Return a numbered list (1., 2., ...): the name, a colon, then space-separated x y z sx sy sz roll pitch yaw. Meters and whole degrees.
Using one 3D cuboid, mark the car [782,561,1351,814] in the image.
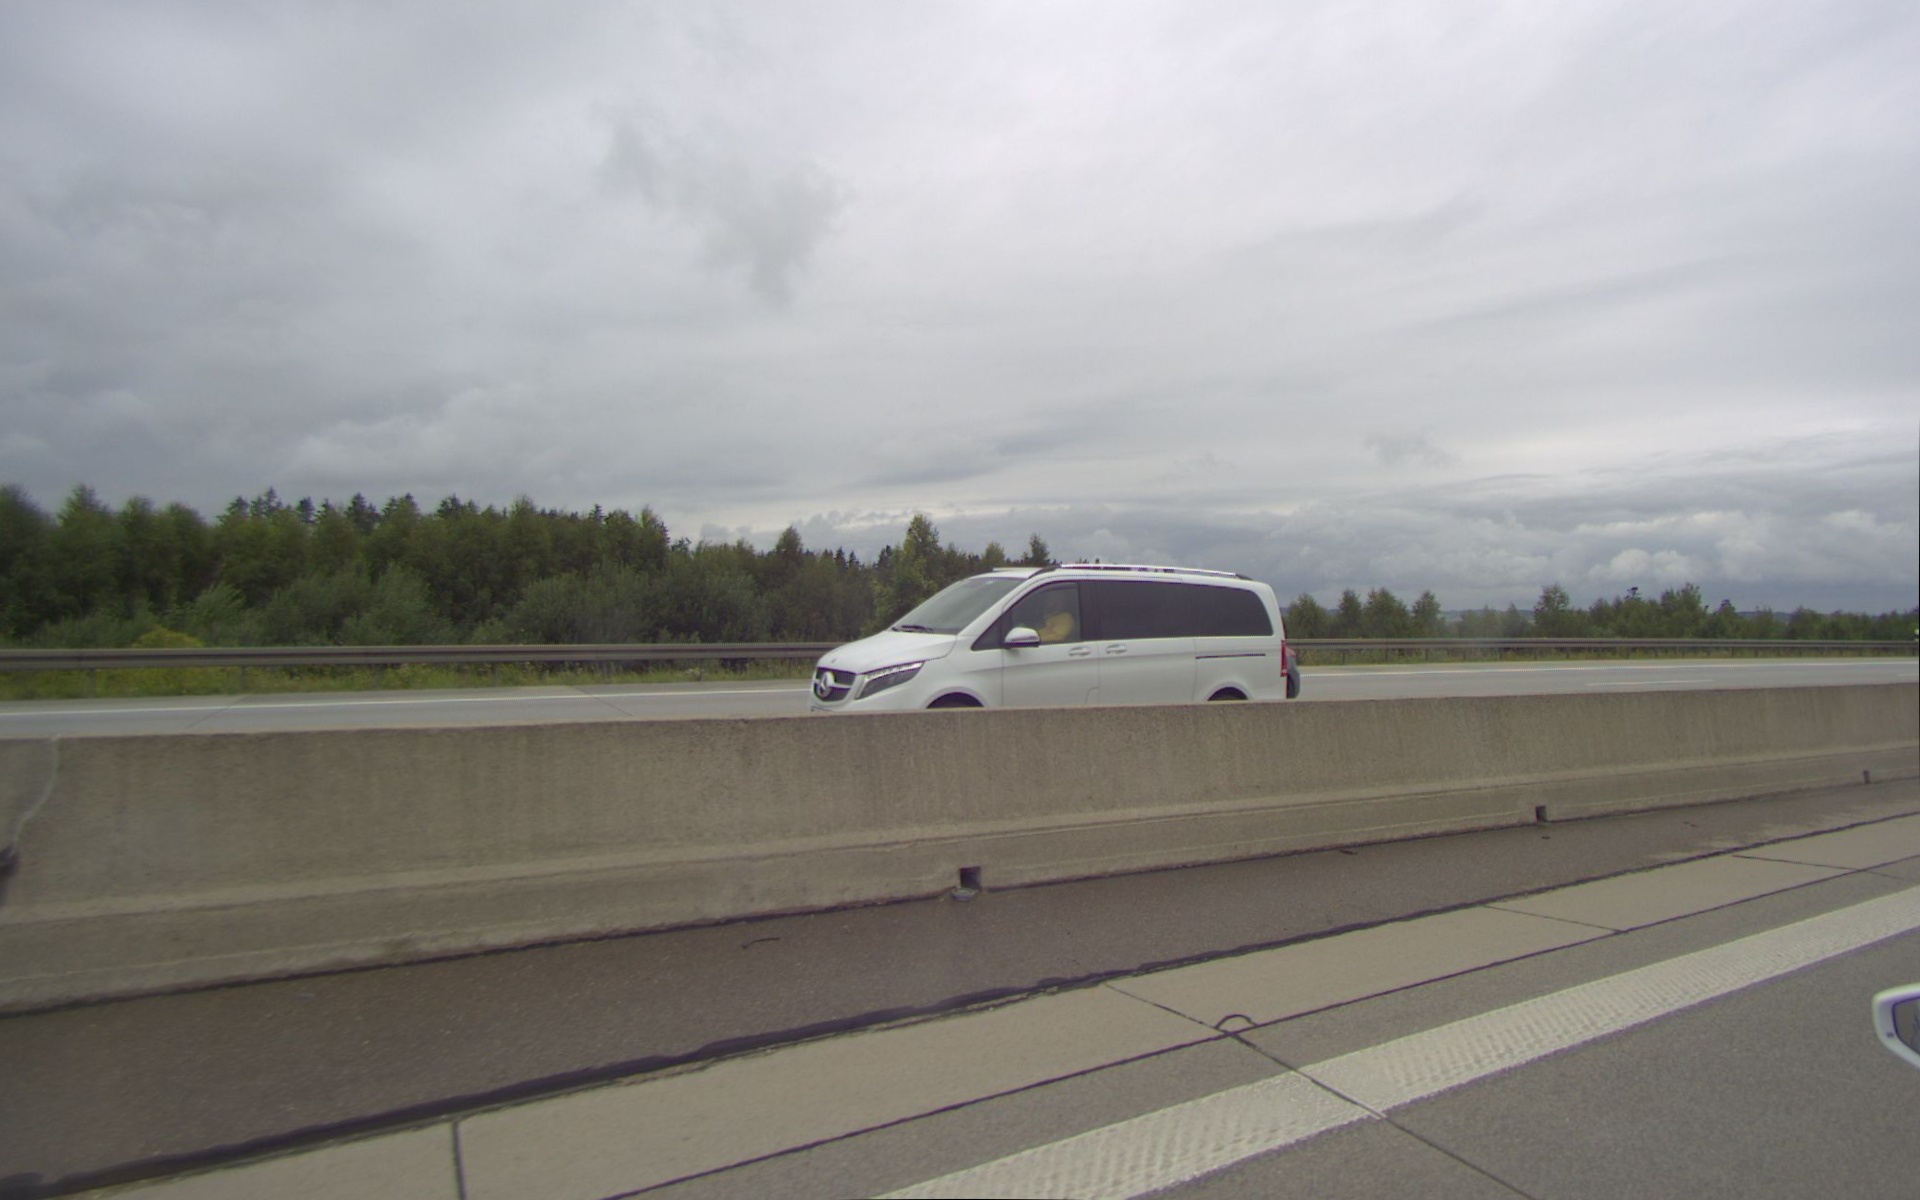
1. car: 1.268 0.738 10.393 5.852 2.040 1.906 0 -1 -29
